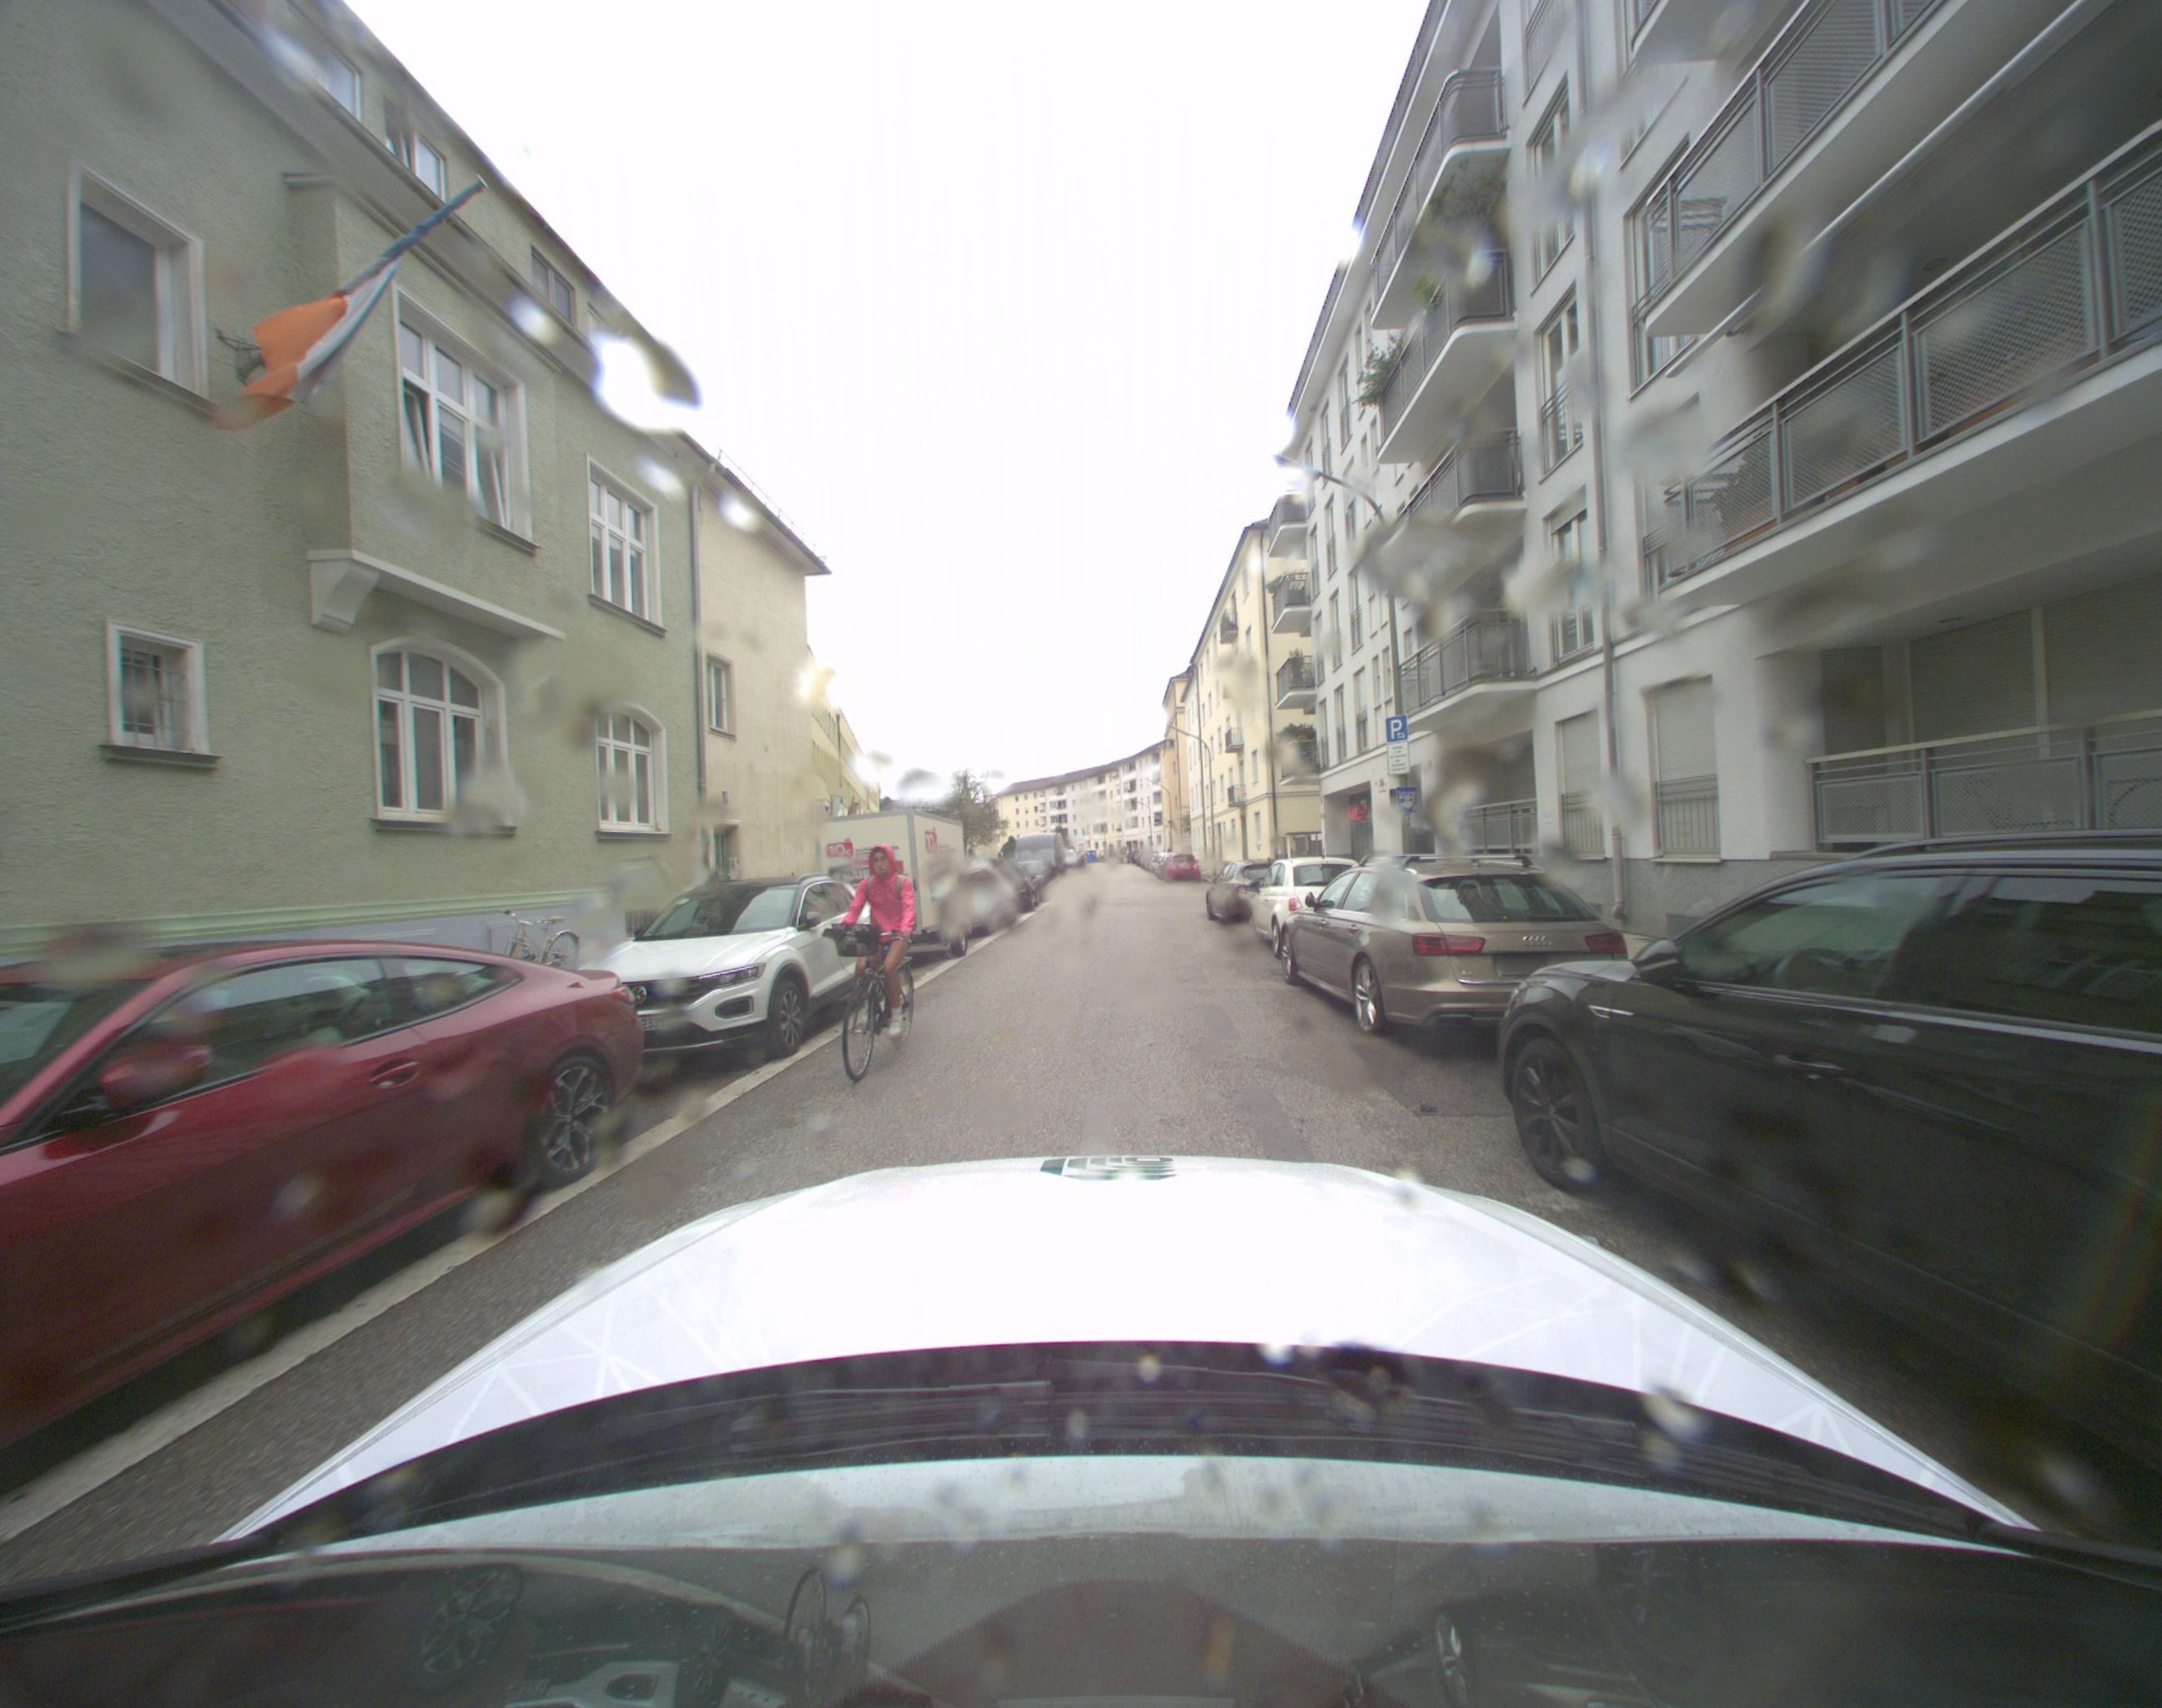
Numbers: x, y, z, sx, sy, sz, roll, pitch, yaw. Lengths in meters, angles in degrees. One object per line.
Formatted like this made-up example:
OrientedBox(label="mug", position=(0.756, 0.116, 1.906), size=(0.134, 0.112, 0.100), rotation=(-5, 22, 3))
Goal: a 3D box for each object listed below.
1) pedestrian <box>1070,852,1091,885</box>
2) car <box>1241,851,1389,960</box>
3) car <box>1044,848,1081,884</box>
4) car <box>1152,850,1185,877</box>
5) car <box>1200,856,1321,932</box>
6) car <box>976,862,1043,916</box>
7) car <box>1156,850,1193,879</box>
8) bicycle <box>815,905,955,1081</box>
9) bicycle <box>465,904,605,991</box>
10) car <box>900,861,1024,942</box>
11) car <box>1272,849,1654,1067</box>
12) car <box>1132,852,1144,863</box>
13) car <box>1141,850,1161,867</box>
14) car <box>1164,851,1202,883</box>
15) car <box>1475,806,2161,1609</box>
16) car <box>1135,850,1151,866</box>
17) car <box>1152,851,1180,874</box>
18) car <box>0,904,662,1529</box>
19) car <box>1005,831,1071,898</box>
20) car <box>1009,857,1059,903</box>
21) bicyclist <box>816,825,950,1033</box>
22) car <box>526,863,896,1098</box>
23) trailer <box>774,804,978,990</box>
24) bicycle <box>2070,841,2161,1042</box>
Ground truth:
OrientedBox(label="pedestrian", position=(-0.022, 0.762, 43.350), size=(0.800, 1.728, 0.665), rotation=(0, -2, -40))
OrientedBox(label="car", position=(3.663, 0.732, 13.311), size=(1.513, 1.530, 3.528), rotation=(-1, 0, 2))
OrientedBox(label="car", position=(-1.067, 0.675, 48.670), size=(1.876, 1.931, 4.602), rotation=(-5, 0, 1))
OrientedBox(label="car", position=(5.583, 0.574, 52.518), size=(1.686, 1.491, 4.284), rotation=(-3, 1, 2))
OrientedBox(label="car", position=(3.815, 0.805, 18.004), size=(1.757, 1.408, 4.078), rotation=(-2, -1, 0))
OrientedBox(label="car", position=(-2.206, 1.040, 25.910), size=(1.695, 1.445, 3.825), rotation=(-2, 1, 0))
OrientedBox(label="car", position=(5.361, 0.617, 46.924), size=(1.686, 1.491, 4.344), rotation=(-3, -1, 2))
OrientedBox(label="bicycle", position=(-1.558, 1.067, 6.782), size=(0.502, 1.128, 1.776), rotation=(-4, 0, 6))
OrientedBox(label="bicycle", position=(-7.077, 1.177, 10.678), size=(0.521, 0.906, 1.929), rotation=(0, 0, 0))
OrientedBox(label="car", position=(-2.665, 1.022, 19.336), size=(1.758, 1.538, 4.548), rotation=(-5, -1, 5))
OrientedBox(label="car", position=(3.226, 0.734, 8.044), size=(1.727, 1.530, 4.623), rotation=(0, 0, 2))
OrientedBox(label="car", position=(6.955, 0.446, 99.028), size=(1.267, 1.299, 2.798), rotation=(-2, 0, 1))
OrientedBox(label="car", position=(6.597, 0.418, 77.052), size=(1.585, 1.582, 4.300), rotation=(-1, 0, 1))
OrientedBox(label="car", position=(5.201, 0.632, 41.909), size=(1.589, 1.509, 3.804), rotation=(-3, 0, 3))
OrientedBox(label="car", position=(2.881, 0.671, 2.415), size=(1.598, 1.530, 3.985), rotation=(0, 0, 2))
OrientedBox(label="car", position=(6.638, 0.449, 86.963), size=(1.468, 1.641, 4.002), rotation=(-1, 0, 1))
OrientedBox(label="car", position=(6.007, 0.551, 57.599), size=(1.593, 1.491, 3.799), rotation=(-2, 0, 1))
OrientedBox(label="car", position=(-3.638, 1.060, 2.889), size=(1.854, 1.412, 4.335), rotation=(-5, -1, 2))
OrientedBox(label="car", position=(-1.769, 0.392, 35.809), size=(2.078, 2.636, 5.383), rotation=(-3, 0, 4))
OrientedBox(label="car", position=(-1.723, 0.961, 30.786), size=(1.580, 1.538, 3.543), rotation=(-3, -1, 1))
OrientedBox(label="bicyclist", position=(-1.598, 0.574, 6.728), size=(0.690, 1.561, 0.968), rotation=(-4, 0, 5))
OrientedBox(label="car", position=(-3.263, 0.987, 8.158), size=(1.680, 1.603, 3.923), rotation=(-5, 0, 2))
OrientedBox(label="trailer", position=(-3.142, 0.590, 13.538), size=(1.701, 2.461, 4.394), rotation=(-5, 0, 6))
OrientedBox(label="bicycle", position=(6.620, 0.510, 4.116), size=(0.625, 1.160, 2.128), rotation=(-3, 0, 1))
